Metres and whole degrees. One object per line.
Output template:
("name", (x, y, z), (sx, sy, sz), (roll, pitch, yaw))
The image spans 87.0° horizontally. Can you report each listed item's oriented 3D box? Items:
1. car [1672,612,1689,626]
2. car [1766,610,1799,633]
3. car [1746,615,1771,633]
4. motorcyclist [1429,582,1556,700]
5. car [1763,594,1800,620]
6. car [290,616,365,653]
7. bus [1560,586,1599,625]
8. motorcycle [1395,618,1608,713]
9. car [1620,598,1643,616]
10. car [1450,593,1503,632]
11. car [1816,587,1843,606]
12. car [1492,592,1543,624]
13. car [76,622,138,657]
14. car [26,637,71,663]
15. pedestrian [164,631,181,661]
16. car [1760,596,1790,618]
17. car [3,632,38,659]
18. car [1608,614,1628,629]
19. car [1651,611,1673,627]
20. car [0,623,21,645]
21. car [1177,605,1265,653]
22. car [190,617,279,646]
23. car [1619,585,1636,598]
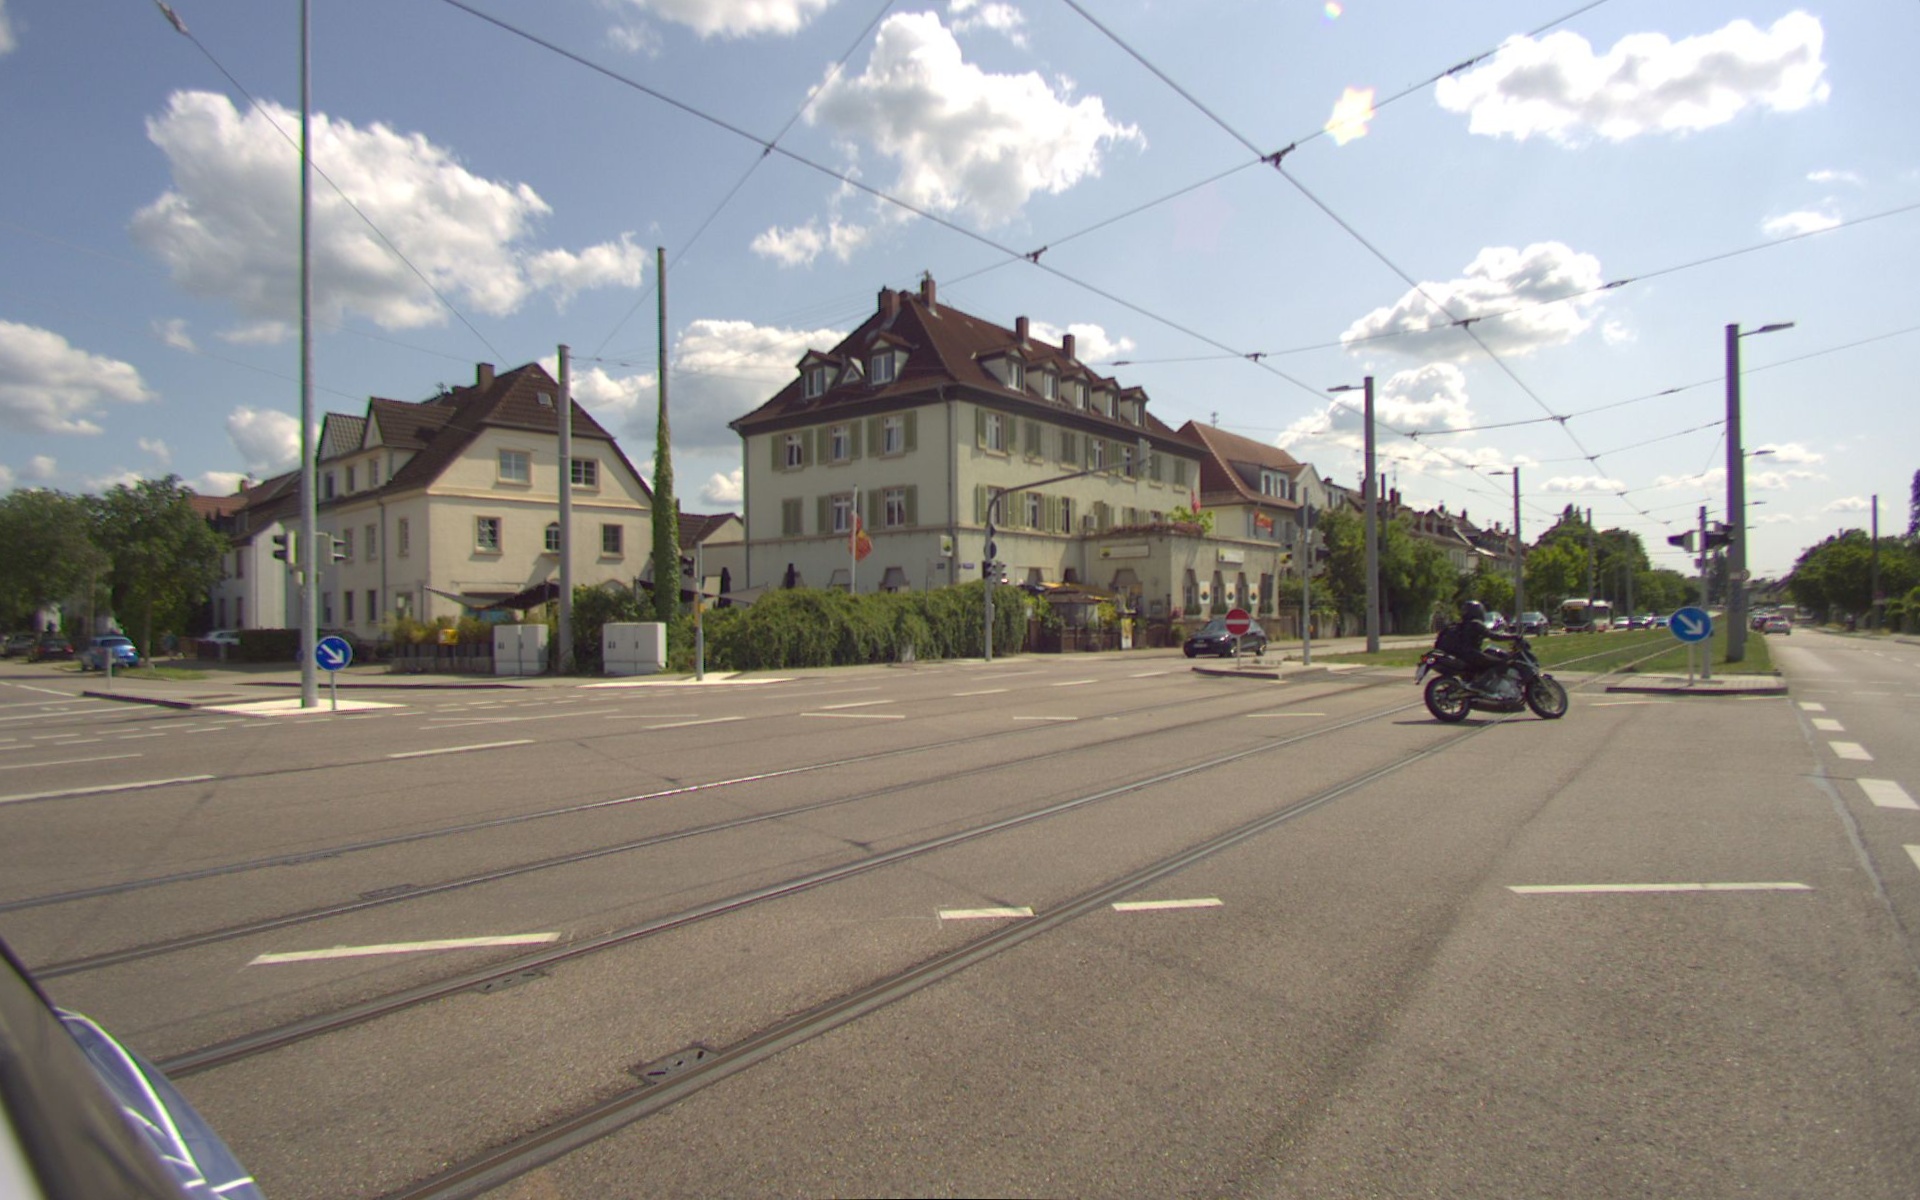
("car", (109.098, 2.810, 153.245), (1.997, 2.029, 3.949), (-1, -1, 37))
("car", (74.384, 1.943, 91.539), (2.000, 2.029, 3.943), (-2, -1, 43))
("car", (95.731, 2.838, 121.351), (2.000, 2.029, 3.943), (-2, -1, 43))
("motorcyclist", (6.886, 0.518, 13.128), (1.083, 1.409, 0.827), (-4, -1, -6))
("car", (65.523, 0.541, 80.673), (2.000, 2.029, 3.943), (-2, -1, 43))
("car", (-26.329, 1.398, 42.279), (1.732, 1.397, 4.115), (-1, -1, -19))
("bus", (62.725, 0.483, 102.360), (2.396, 3.805, 11.875), (-1, 0, 36))
("motorcycle", (6.987, 0.823, 13.122), (2.322, 1.136, 0.845), (-1, -1, -5))
("car", (76.318, 0.767, 115.021), (1.996, 2.029, 3.951), (-1, 0, 36))
("car", (28.167, 0.668, 55.125), (1.902, 2.029, 3.667), (0, 0, 38))
("car", (94.829, -0.362, 110.381), (2.000, 2.029, 3.943), (-2, -2, 43))
("car", (37.352, 0.529, 67.771), (2.000, 2.029, 3.943), (-2, -1, 43))
("car", (-37.960, 1.721, 45.023), (3.153, 1.473, 1.687), (-2, -1, 41))
("car", (-51.266, 2.784, 56.917), (3.919, 1.306, 1.686), (-2, -1, 45))
("pedestrian", (-41.829, 2.429, 53.738), (0.618, 1.547, 0.623), (-2, -1, 43))
("car", (80.750, 0.689, 100.286), (2.000, 2.029, 3.943), (-2, -1, 43))
("car", (-61.511, 2.980, 66.226), (3.575, 1.667, 1.541), (-2, -1, 45))
("car", (89.033, 2.923, 136.897), (1.997, 2.029, 3.949), (-1, -1, 38))
("car", (95.248, 2.543, 137.245), (1.999, 2.029, 3.946), (-2, -1, 41))
("car", (-66.181, 2.351, 70.159), (1.601, 1.436, 3.004), (-2, 0, -43))
("car", (9.478, 1.022, 36.591), (1.744, 1.596, 3.876), (-1, 0, 37))
("car", (-40.230, 1.709, 56.156), (1.711, 1.465, 3.753), (-2, -1, 44))
("car", (112.467, -1.423, 170.488), (1.999, 2.029, 3.946), (-2, -1, 41))
